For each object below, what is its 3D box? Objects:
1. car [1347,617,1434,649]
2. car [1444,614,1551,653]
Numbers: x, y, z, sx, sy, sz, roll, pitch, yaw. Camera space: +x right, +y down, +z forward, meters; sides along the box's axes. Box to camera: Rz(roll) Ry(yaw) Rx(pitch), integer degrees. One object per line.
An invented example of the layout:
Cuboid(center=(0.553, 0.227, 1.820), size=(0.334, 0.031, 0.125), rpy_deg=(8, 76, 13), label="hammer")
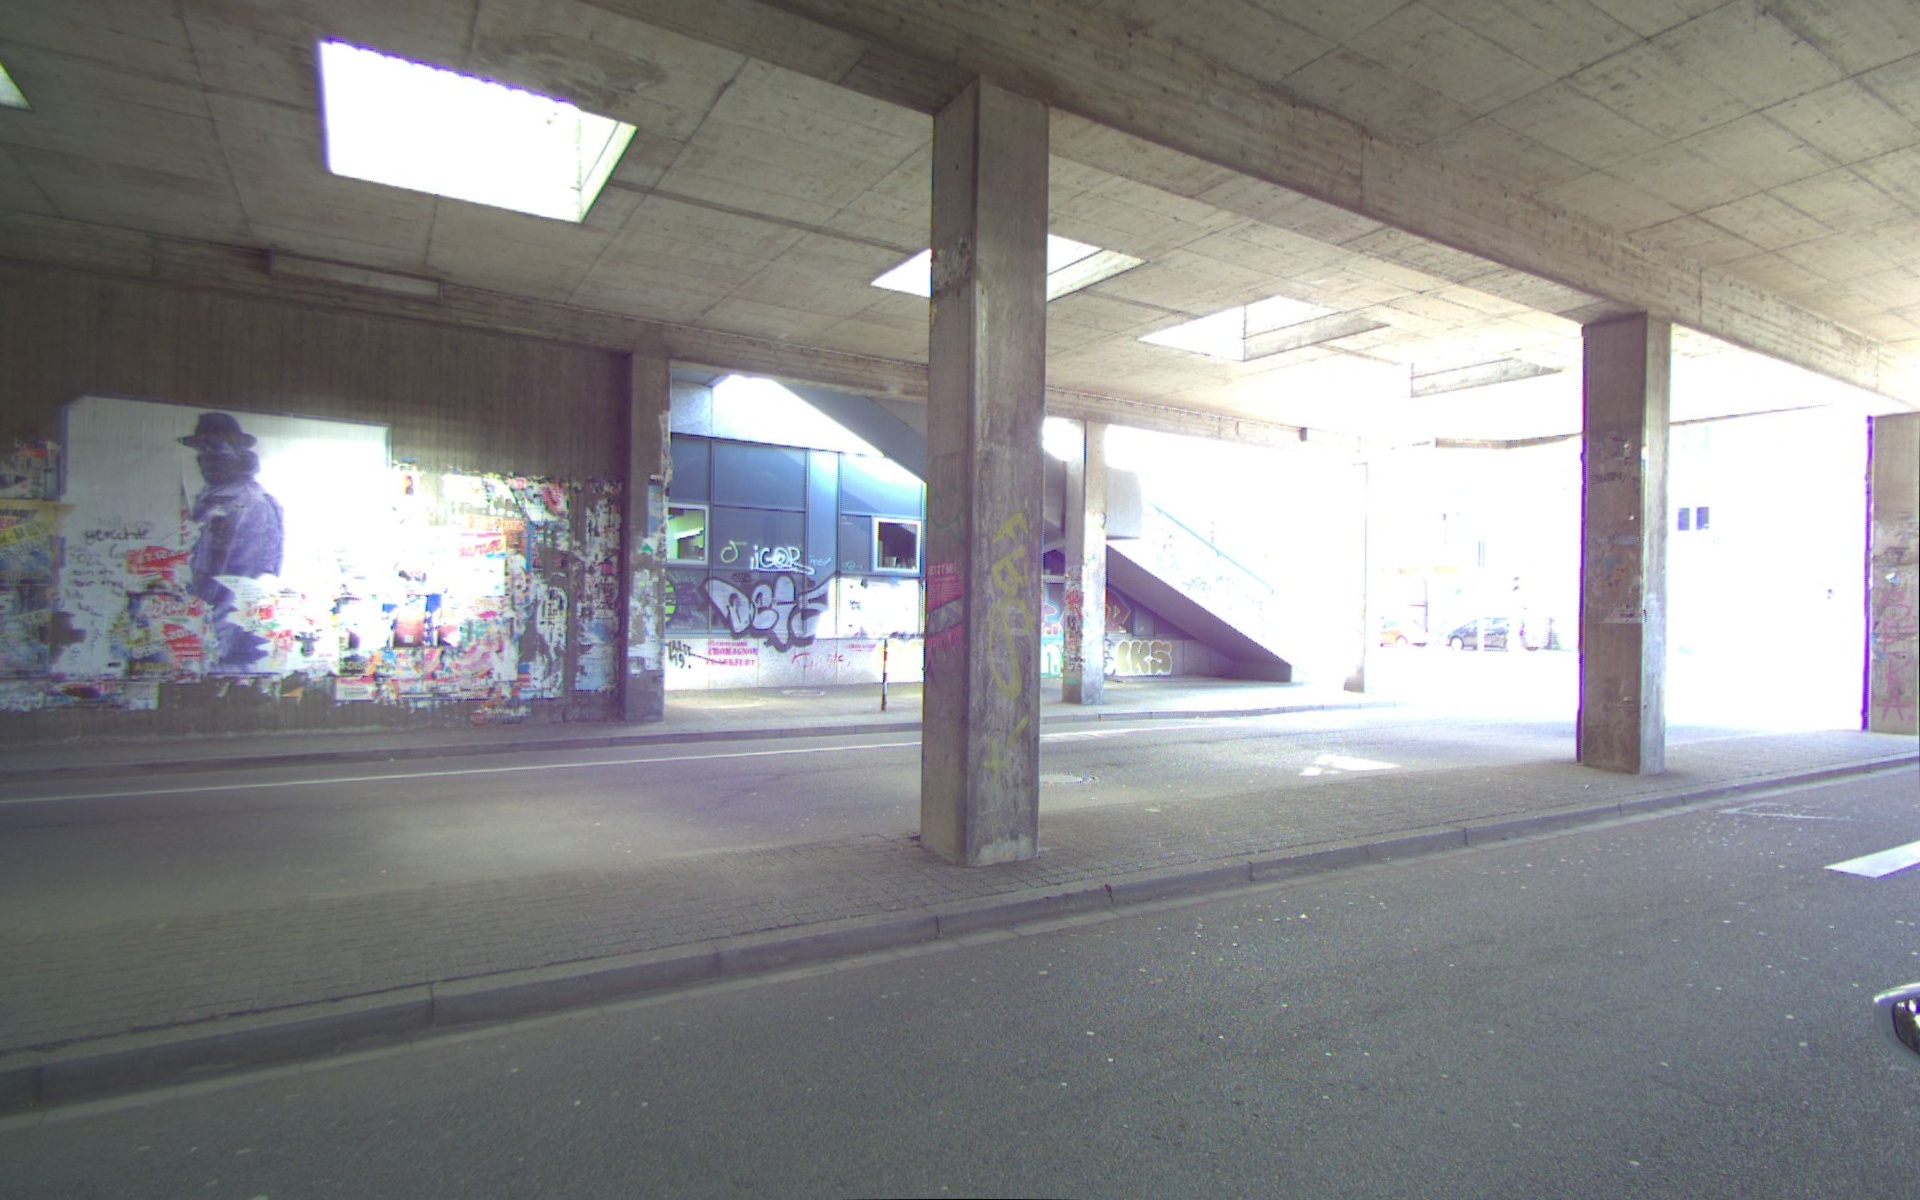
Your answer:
Cuboid(center=(22.545, 1.721, 52.741), size=(1.876, 1.561, 3.861), rpy_deg=(0, 0, -29), label="car")
Cuboid(center=(25.437, 1.542, 47.655), size=(1.939, 1.747, 4.141), rpy_deg=(0, 0, -29), label="car")
